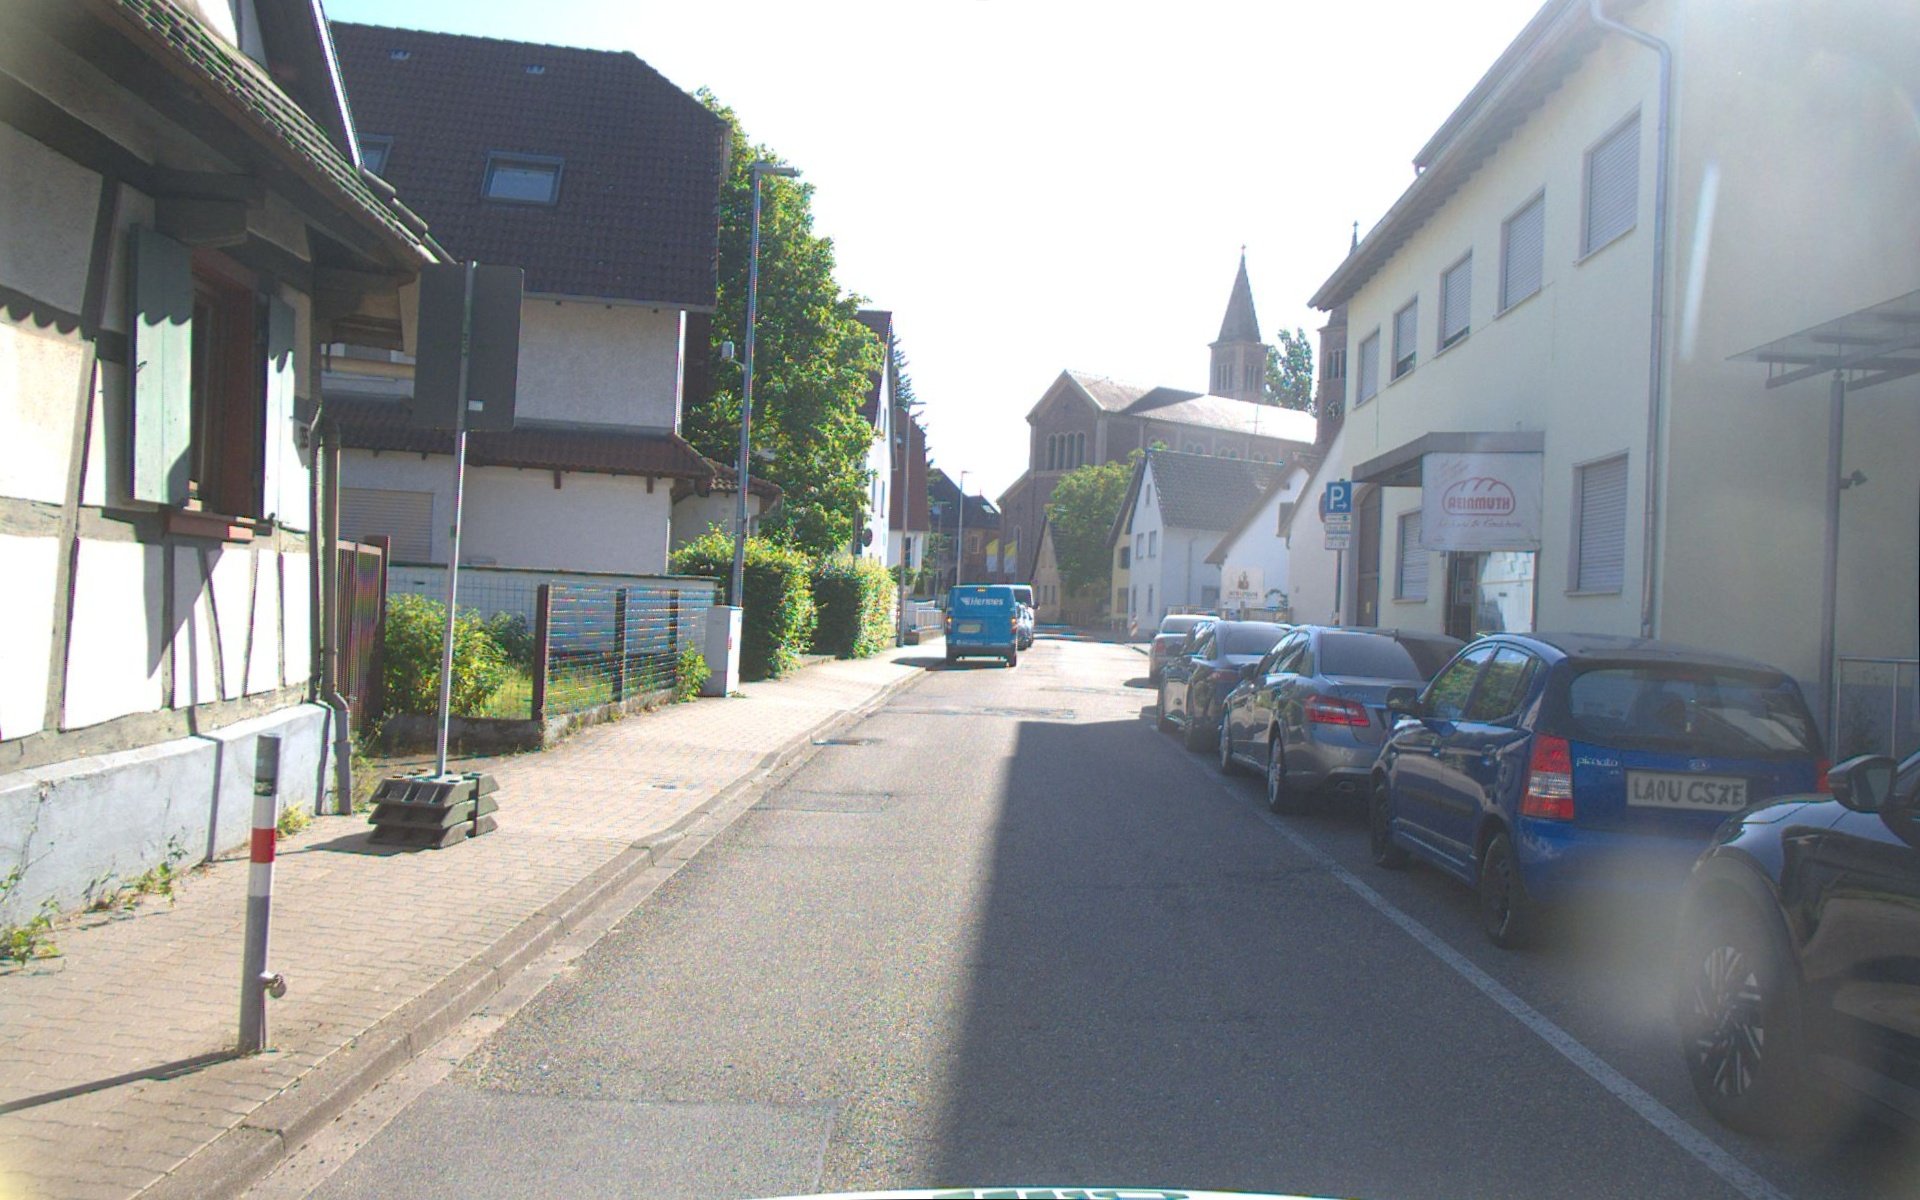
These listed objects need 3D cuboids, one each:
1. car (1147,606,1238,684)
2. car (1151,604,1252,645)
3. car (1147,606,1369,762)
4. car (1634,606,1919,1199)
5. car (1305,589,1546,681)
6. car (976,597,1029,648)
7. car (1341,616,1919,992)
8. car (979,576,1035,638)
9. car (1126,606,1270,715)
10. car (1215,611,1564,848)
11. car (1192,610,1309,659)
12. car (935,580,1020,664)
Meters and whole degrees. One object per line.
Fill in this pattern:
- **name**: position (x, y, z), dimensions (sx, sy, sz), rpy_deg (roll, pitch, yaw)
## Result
- **car**: position (5.028, 0.933, 36.138), dimensions (1.773, 1.501, 4.663), rpy_deg (3, 0, 7)
- **car**: position (9.629, 0.962, 65.754), dimensions (3.829, 1.518, 1.848), rpy_deg (2, 0, 12)
- **car**: position (3.374, 0.907, 19.623), dimensions (1.771, 1.501, 4.844), rpy_deg (4, -1, 1)
- **car**: position (3.190, 0.850, 3.794), dimensions (1.577, 1.547, 3.971), rpy_deg (4, 0, 0)
- **car**: position (10.004, 0.733, 35.736), dimensions (4.668, 1.919, 1.907), rpy_deg (0, 0, -4)
- **car**: position (1.474, 0.737, 56.397), dimensions (1.679, 1.626, 3.927), rpy_deg (1, 0, 3)
- **car**: position (3.413, 0.918, 9.233), dimensions (1.690, 1.501, 3.875), rpy_deg (4, 0, 1)
- **car**: position (2.004, 0.273, 68.492), dimensions (2.151, 2.432, 6.066), rpy_deg (0, 0, 3)
- **car**: position (3.789, 0.912, 27.084), dimensions (1.771, 1.501, 4.845), rpy_deg (4, 0, 2)
- **car**: position (3.332, 0.914, 13.741), dimensions (1.771, 1.501, 4.445), rpy_deg (4, 0, 1)
- **car**: position (10.959, 1.317, 62.443), dimensions (3.985, 1.718, 1.897), rpy_deg (2, 0, -25)
- **car**: position (0.516, 0.526, 41.666), dimensions (1.862, 1.951, 5.072), rpy_deg (1, 0, 3)
